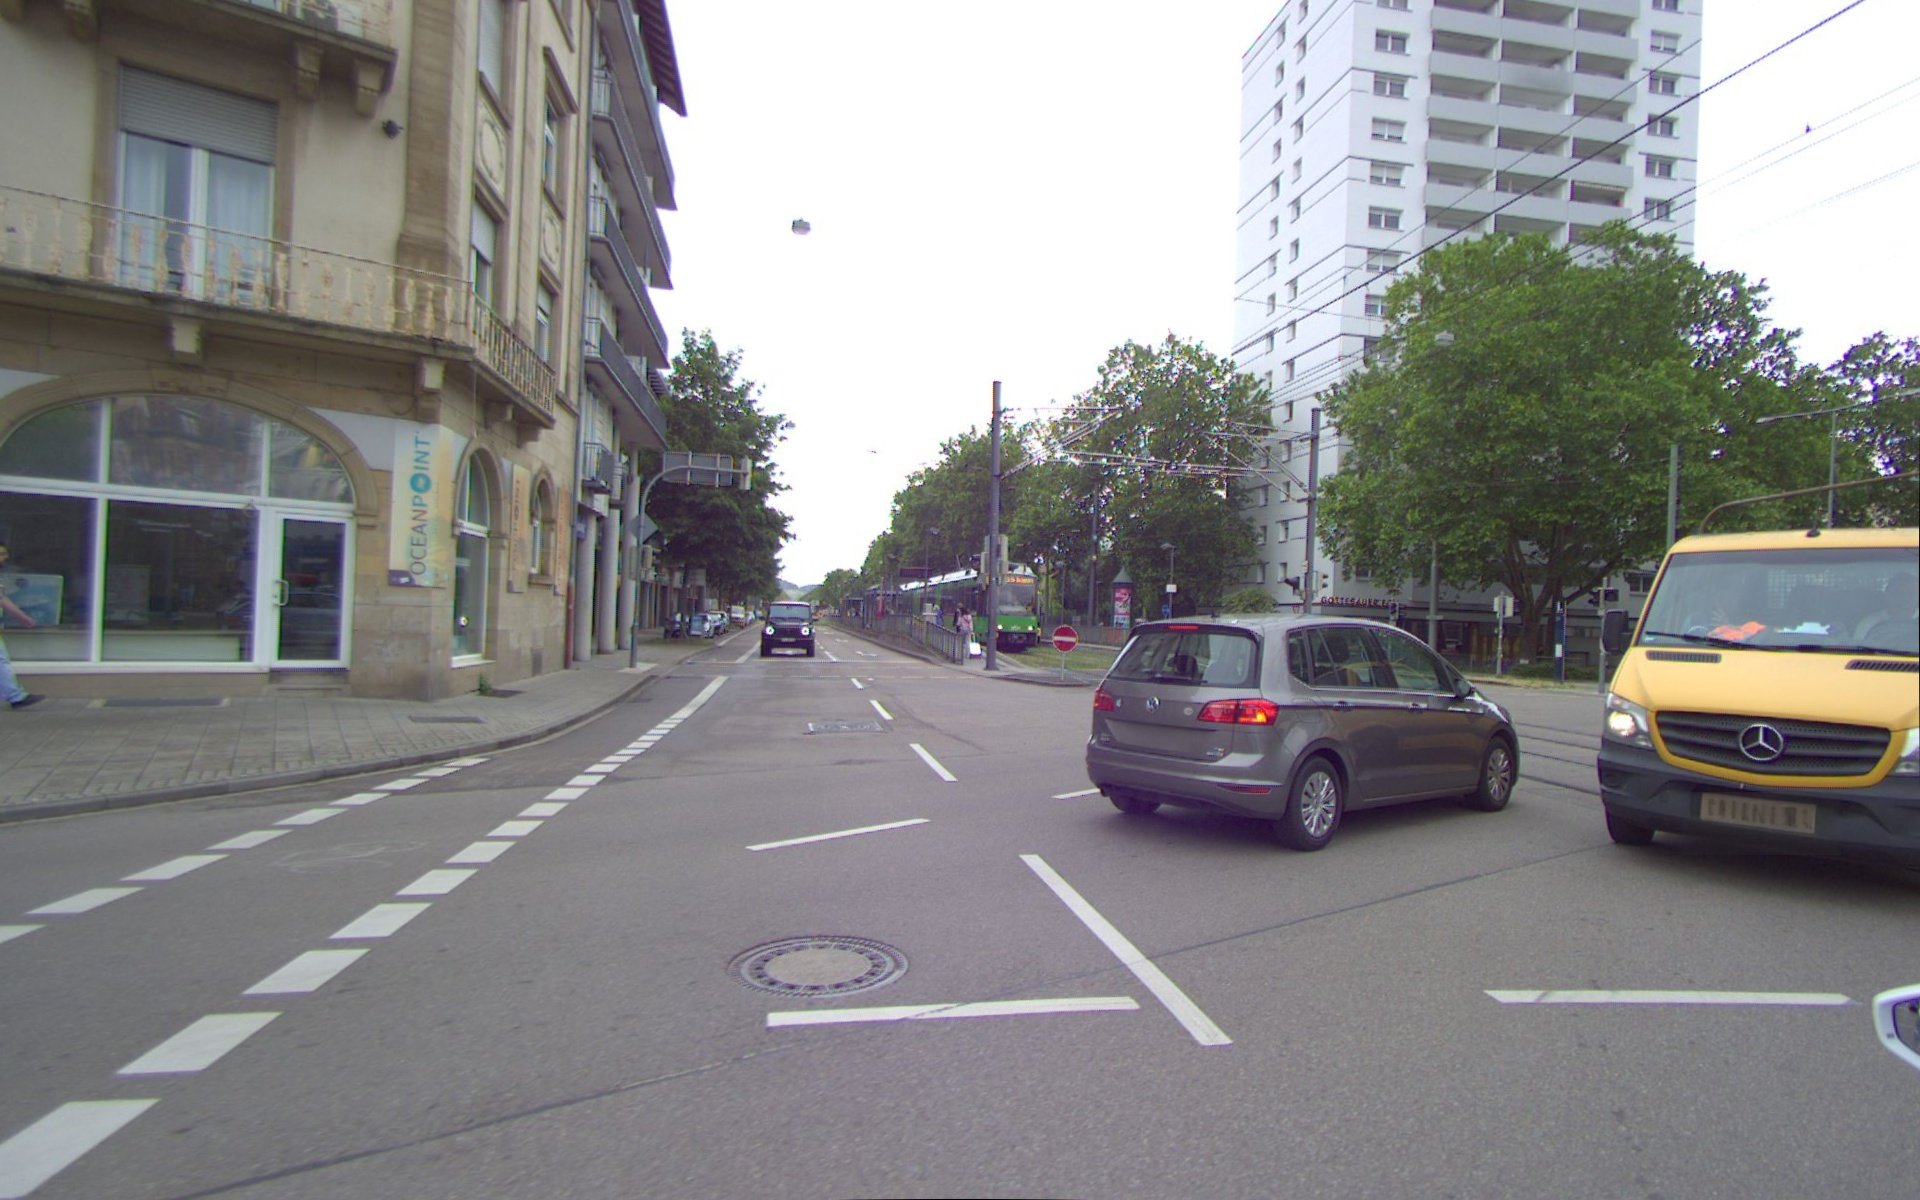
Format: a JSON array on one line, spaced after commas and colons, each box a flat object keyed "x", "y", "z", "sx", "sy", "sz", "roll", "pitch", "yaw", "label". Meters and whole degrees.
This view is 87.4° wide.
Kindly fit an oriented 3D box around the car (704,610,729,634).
[{"x": -17.094, "y": 1.521, "z": 70.612, "sx": 1.661, "sy": 1.600, "sz": 3.990, "roll": 2, "pitch": -1, "yaw": -13, "label": "car"}]

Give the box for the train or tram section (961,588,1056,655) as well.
[{"x": 2.547, "y": 1.191, "z": 58.378, "sx": 2.576, "sy": 3.342, "sz": 12.991, "roll": 2, "pitch": -1, "yaw": -10, "label": "train or tram section"}]

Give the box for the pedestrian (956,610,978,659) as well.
[{"x": 0.226, "y": 1.157, "z": 34.201, "sx": 0.578, "sy": 1.624, "sz": 0.732, "roll": 2, "pitch": -1, "yaw": -10, "label": "pedestrian"}]

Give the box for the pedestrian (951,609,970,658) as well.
[{"x": 0.025, "y": 1.324, "z": 39.393, "sx": 0.578, "sy": 1.889, "sz": 0.732, "roll": 2, "pitch": -1, "yaw": -10, "label": "pedestrian"}]

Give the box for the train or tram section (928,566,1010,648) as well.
[{"x": 0.303, "y": 0.405, "z": 52.002, "sx": 2.638, "sy": 3.811, "sz": 8.285, "roll": 2, "pitch": -1, "yaw": -10, "label": "train or tram section"}]

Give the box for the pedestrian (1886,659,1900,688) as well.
[{"x": 55.360, "y": 4.368, "z": 59.607, "sx": 0.509, "sy": 1.702, "sz": 0.509, "roll": 2, "pitch": -1, "yaw": 39, "label": "pedestrian"}]

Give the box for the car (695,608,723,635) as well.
[{"x": -16.354, "y": 1.380, "z": 65.580, "sx": 1.661, "sy": 1.600, "sz": 3.990, "roll": 2, "pitch": -1, "yaw": -13, "label": "car"}]

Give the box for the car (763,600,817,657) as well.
[{"x": -6.346, "y": 1.036, "z": 37.206, "sx": 1.661, "sy": 1.939, "sz": 3.990, "roll": 3, "pitch": -1, "yaw": -13, "label": "car"}]

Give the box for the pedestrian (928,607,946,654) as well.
[{"x": -0.940, "y": 1.225, "z": 40.458, "sx": 0.605, "sy": 1.889, "sz": 0.481, "roll": 2, "pitch": -1, "yaw": -10, "label": "pedestrian"}]

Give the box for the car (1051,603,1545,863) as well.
[{"x": 2.780, "y": 0.879, "z": 7.906, "sx": 3.963, "sy": 1.545, "sz": 1.720, "roll": 3, "pitch": -1, "yaw": -37, "label": "car"}]

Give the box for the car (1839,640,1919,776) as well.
[{"x": 12.499, "y": 1.327, "z": 12.510, "sx": 3.871, "sy": 1.508, "sz": 1.653, "roll": 3, "pitch": -1, "yaw": -38, "label": "car"}]

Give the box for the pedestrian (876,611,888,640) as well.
[{"x": -5.164, "y": 1.663, "z": 66.564, "sx": 0.658, "sy": 1.889, "sz": 0.615, "roll": 2, "pitch": -1, "yaw": -10, "label": "pedestrian"}]

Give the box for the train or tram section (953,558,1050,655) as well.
[{"x": 1.663, "y": 0.326, "z": 44.336, "sx": 2.638, "sy": 3.811, "sz": 7.249, "roll": 2, "pitch": -1, "yaw": -10, "label": "train or tram section"}]

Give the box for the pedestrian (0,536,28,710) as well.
[{"x": -10.280, "y": 0.230, "z": 10.560, "sx": 0.545, "sy": 1.809, "sz": 0.563, "roll": 2, "pitch": -1, "yaw": -33, "label": "pedestrian"}]

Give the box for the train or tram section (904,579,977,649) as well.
[{"x": -1.405, "y": 0.839, "z": 61.484, "sx": 2.638, "sy": 3.811, "sz": 11.042, "roll": 2, "pitch": -1, "yaw": -10, "label": "train or tram section"}]

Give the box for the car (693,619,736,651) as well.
[{"x": -13.382, "y": 1.895, "z": 54.688, "sx": 1.787, "sy": 1.545, "sz": 3.982, "roll": 3, "pitch": -1, "yaw": -20, "label": "car"}]

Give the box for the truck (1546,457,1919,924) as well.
[{"x": 6.535, "y": 0.572, "z": 7.636, "sx": 5.422, "sy": 2.440, "sz": 2.056, "roll": 3, "pitch": -2, "yaw": -42, "label": "truck"}]

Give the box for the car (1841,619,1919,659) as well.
[{"x": 44.460, "y": 1.874, "z": 47.369, "sx": 3.927, "sy": 1.728, "sz": 1.998, "roll": 3, "pitch": -1, "yaw": 28, "label": "car"}]
